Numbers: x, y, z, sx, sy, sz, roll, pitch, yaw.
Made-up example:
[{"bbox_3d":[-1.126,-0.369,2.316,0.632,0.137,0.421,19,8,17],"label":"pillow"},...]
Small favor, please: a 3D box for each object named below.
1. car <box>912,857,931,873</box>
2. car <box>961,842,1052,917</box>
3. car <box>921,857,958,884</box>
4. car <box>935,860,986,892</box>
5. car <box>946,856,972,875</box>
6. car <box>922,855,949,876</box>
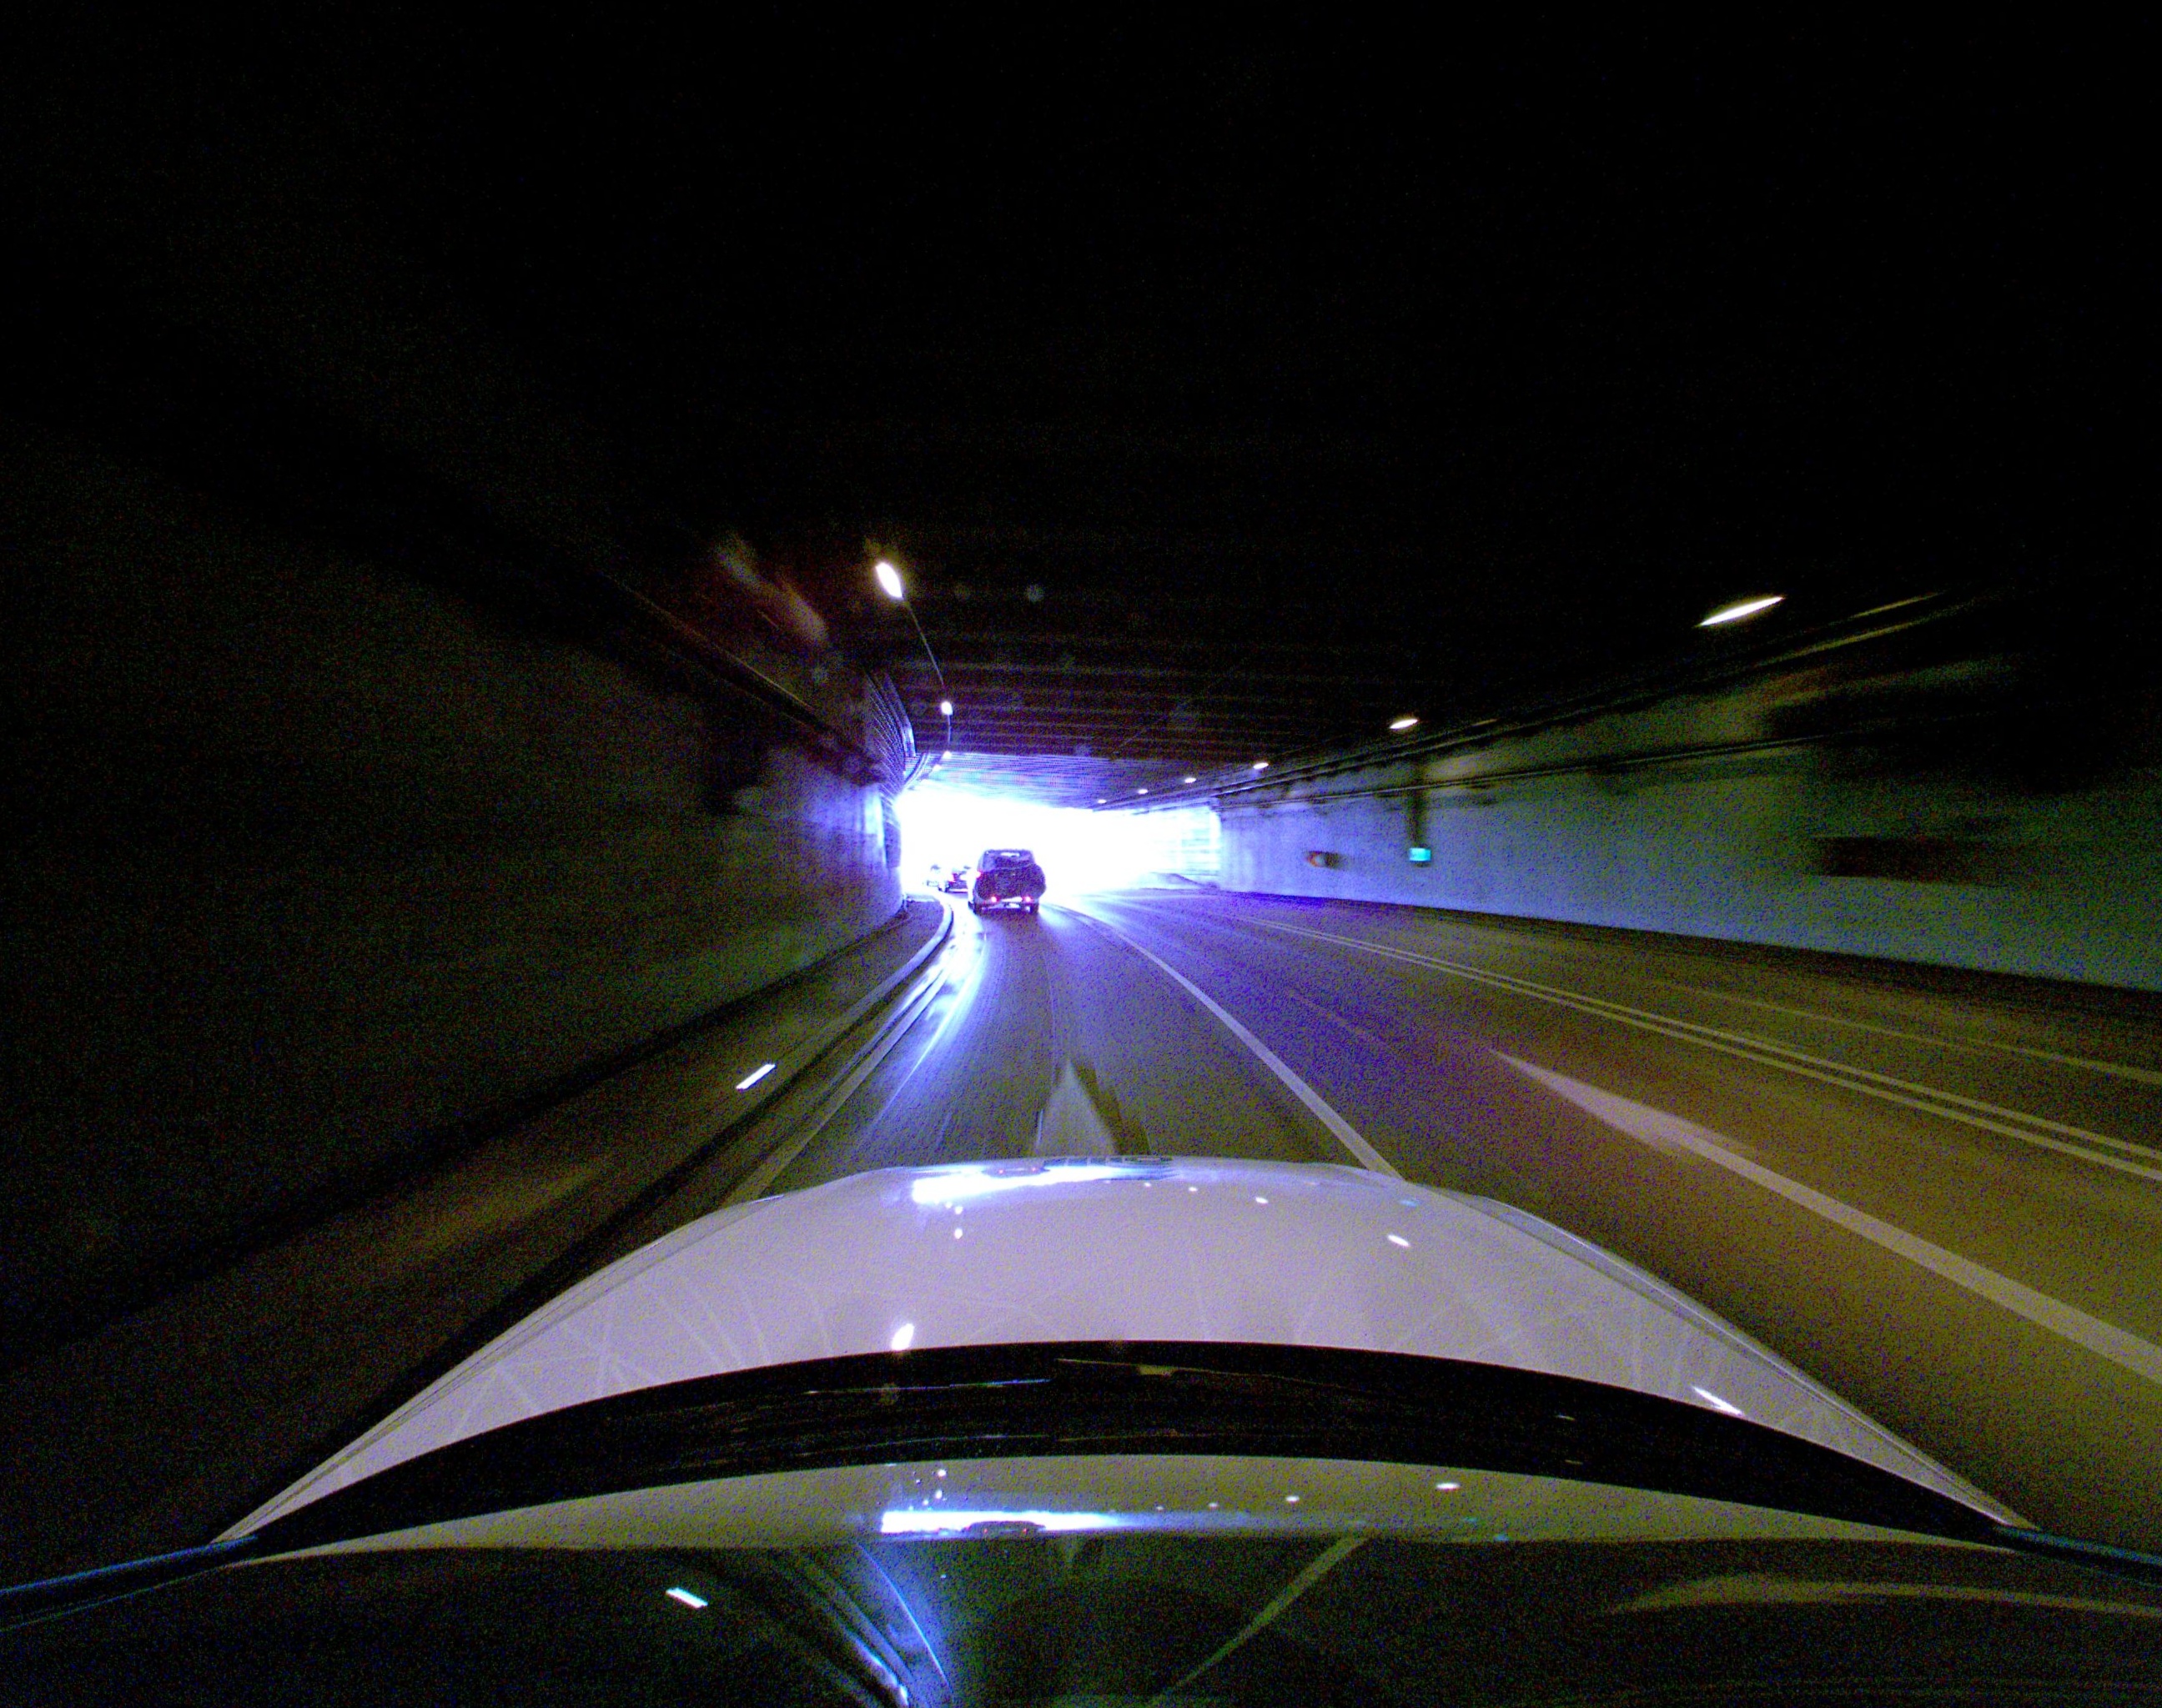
[{"bbox_3d":[-17.286,1.180,88.146,1.995,1.664,3.983,1,0,-13],"label":"car"},{"bbox_3d":[-2.334,0.674,24.037,1.994,1.859,5.618,-2,0,-12],"label":"car"},{"bbox_3d":[-8.601,0.992,49.240,1.923,1.489,4.047,1,0,-13],"label":"car"},{"bbox_3d":[-5.760,1.007,38.673,1.819,1.434,4.041,0,0,-17],"label":"car"},{"bbox_3d":[-10.622,0.983,70.892,1.995,1.664,3.983,1,0,-13],"label":"car"},{"bbox_3d":[-11.920,0.956,66.740,1.995,1.664,3.983,1,0,-13],"label":"car"}]
